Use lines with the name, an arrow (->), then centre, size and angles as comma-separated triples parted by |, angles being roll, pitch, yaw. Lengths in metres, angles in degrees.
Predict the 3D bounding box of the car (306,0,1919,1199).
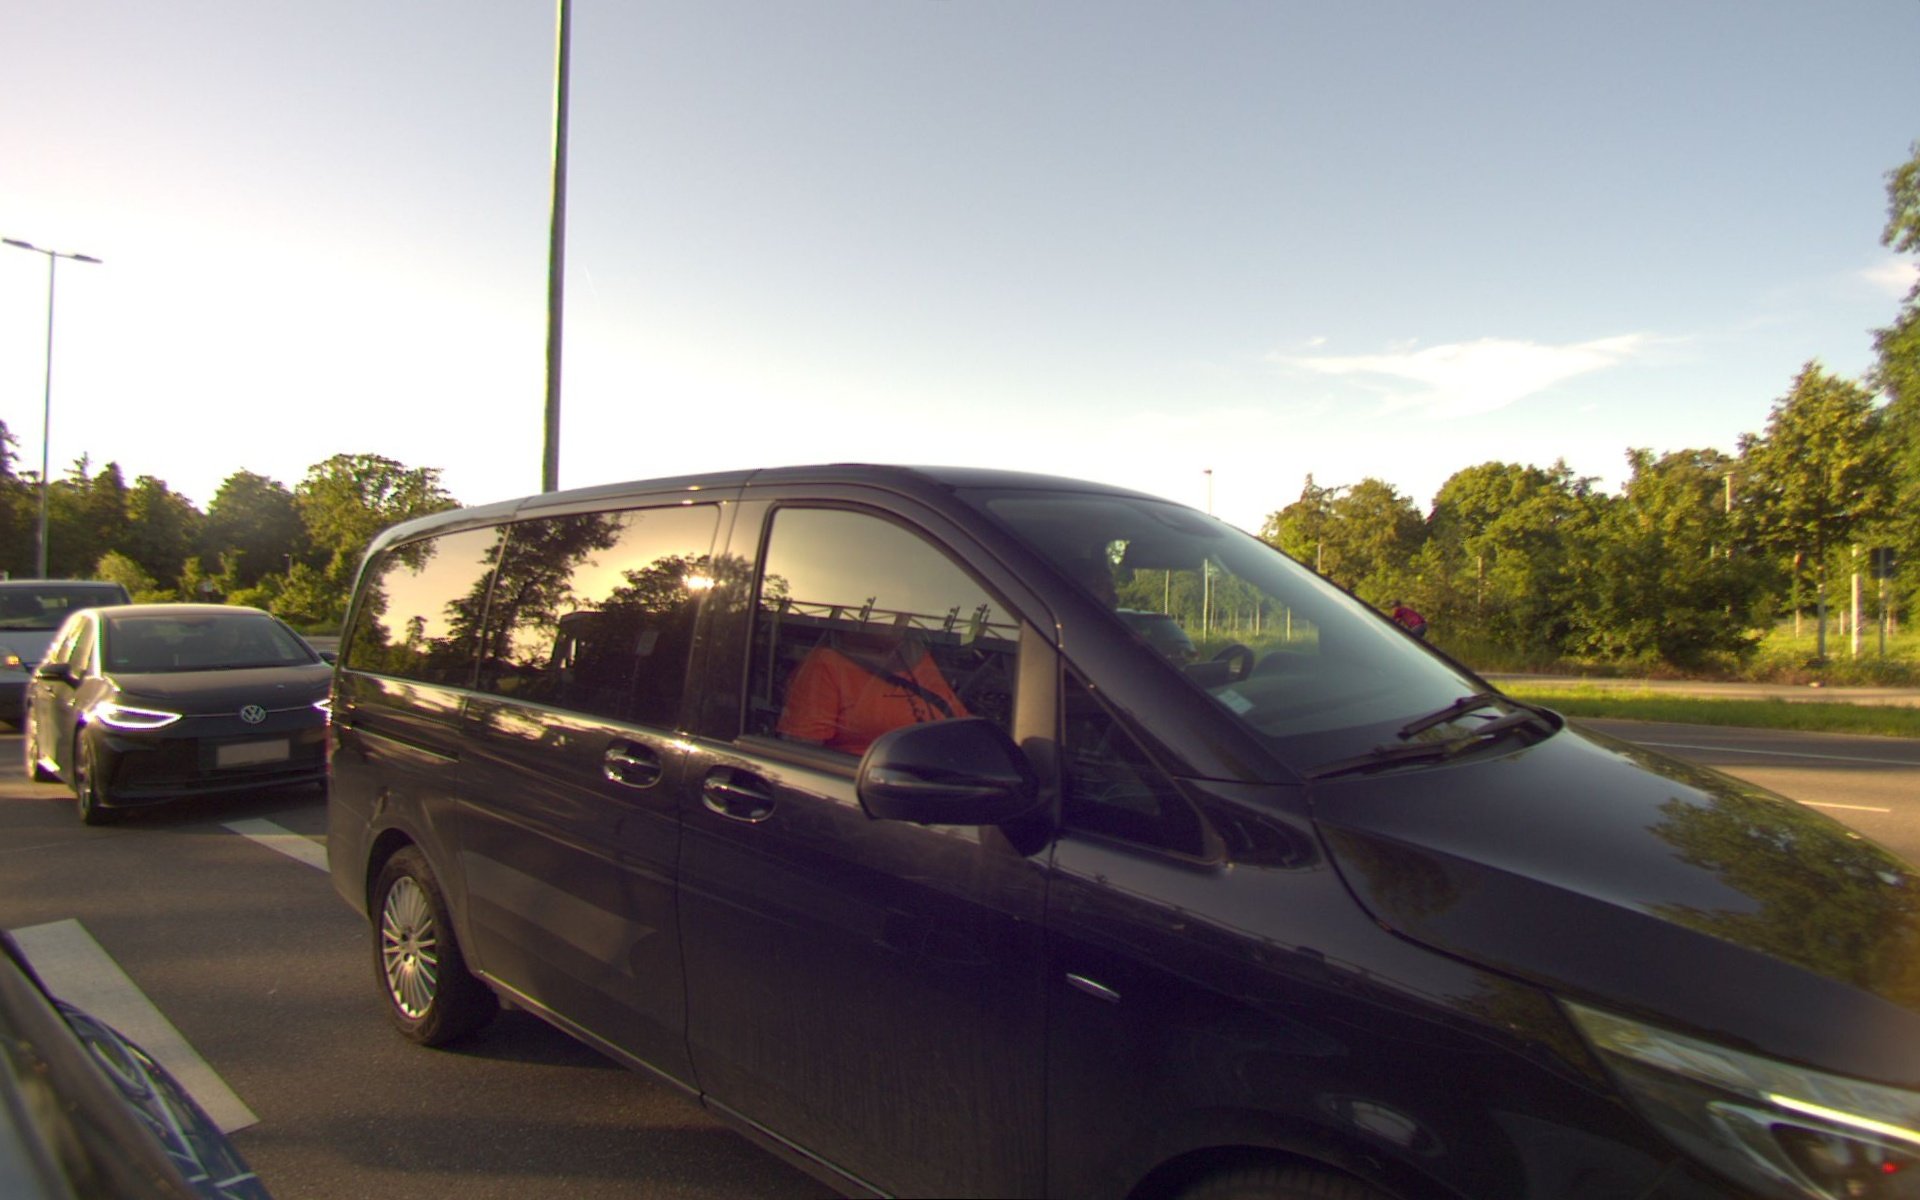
car -> -0.052, 0.355, 2.986 | 4.871, 1.870, 1.887 | -3, -1, 41

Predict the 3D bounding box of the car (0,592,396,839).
car -> -6.508, 0.738, 8.422 | 3.997, 1.548, 1.859 | 0, 1, 40

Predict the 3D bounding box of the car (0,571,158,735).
car -> -13.161, 0.687, 14.307 | 5.044, 1.977, 1.859 | -2, 0, 40

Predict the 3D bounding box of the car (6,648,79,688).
car -> -37.384, 2.737, 41.201 | 3.839, 1.406, 1.584 | -1, 0, 38

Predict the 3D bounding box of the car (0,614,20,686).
car -> -22.855, 1.134, 22.775 | 5.044, 1.535, 1.859 | -2, 0, 40

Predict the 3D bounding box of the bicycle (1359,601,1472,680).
bicycle -> 9.495, 0.813, 21.160 | 2.022, 1.562, 0.742 | 0, 0, 44

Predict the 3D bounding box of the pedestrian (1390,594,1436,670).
pedestrian -> 9.482, 0.650, 21.186 | 0.673, 1.555, 0.732 | -1, 0, 44
